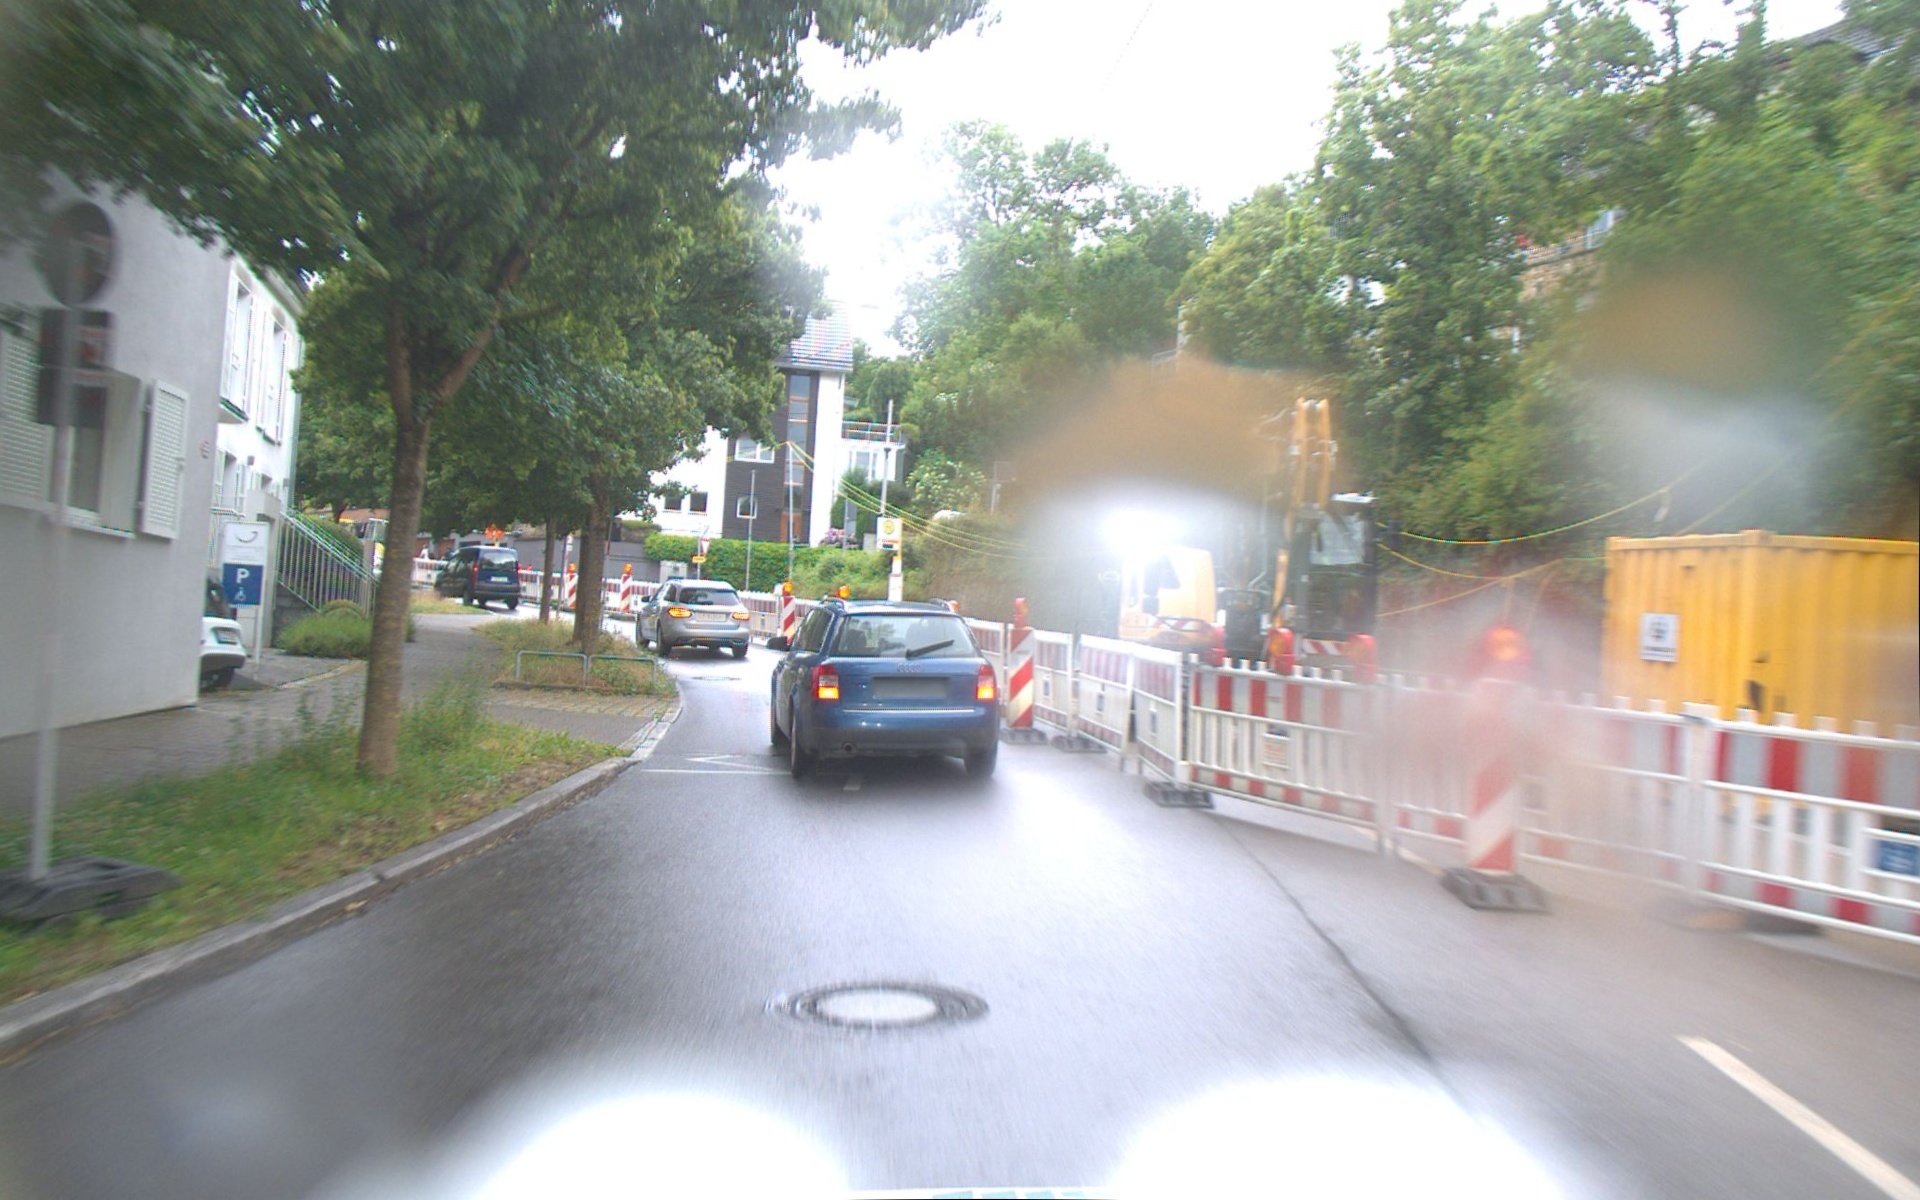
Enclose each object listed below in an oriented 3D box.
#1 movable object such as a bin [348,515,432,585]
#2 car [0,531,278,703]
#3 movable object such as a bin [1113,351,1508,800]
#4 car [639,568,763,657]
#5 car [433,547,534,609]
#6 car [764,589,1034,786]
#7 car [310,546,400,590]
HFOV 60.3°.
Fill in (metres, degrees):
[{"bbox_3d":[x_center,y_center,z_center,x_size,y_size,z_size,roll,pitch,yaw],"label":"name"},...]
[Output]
[{"bbox_3d":[-24.032,-2.123,69.658,1.981,2.658,3.945,2,3,-40],"label":"movable object such as a bin"},{"bbox_3d":[-9.148,0.146,16.526,3.908,1.588,1.748,1,0,-4],"label":"car"},{"bbox_3d":[3.609,-0.253,19.095,2.762,4.084,7.325,2,0,-1],"label":"movable object such as a bin"},{"bbox_3d":[-5.353,0.220,33.718,1.895,1.646,4.300,2,0,-17],"label":"car"},{"bbox_3d":[-14.844,-0.651,51.372,1.975,1.825,3.955,1,-1,-32],"label":"car"},{"bbox_3d":[-0.687,0.676,14.748,1.754,1.467,3.952,2,0,-12],"label":"car"},{"bbox_3d":[-22.365,-1.158,61.082,1.712,1.512,4.011,1,-1,-43],"label":"car"}]
